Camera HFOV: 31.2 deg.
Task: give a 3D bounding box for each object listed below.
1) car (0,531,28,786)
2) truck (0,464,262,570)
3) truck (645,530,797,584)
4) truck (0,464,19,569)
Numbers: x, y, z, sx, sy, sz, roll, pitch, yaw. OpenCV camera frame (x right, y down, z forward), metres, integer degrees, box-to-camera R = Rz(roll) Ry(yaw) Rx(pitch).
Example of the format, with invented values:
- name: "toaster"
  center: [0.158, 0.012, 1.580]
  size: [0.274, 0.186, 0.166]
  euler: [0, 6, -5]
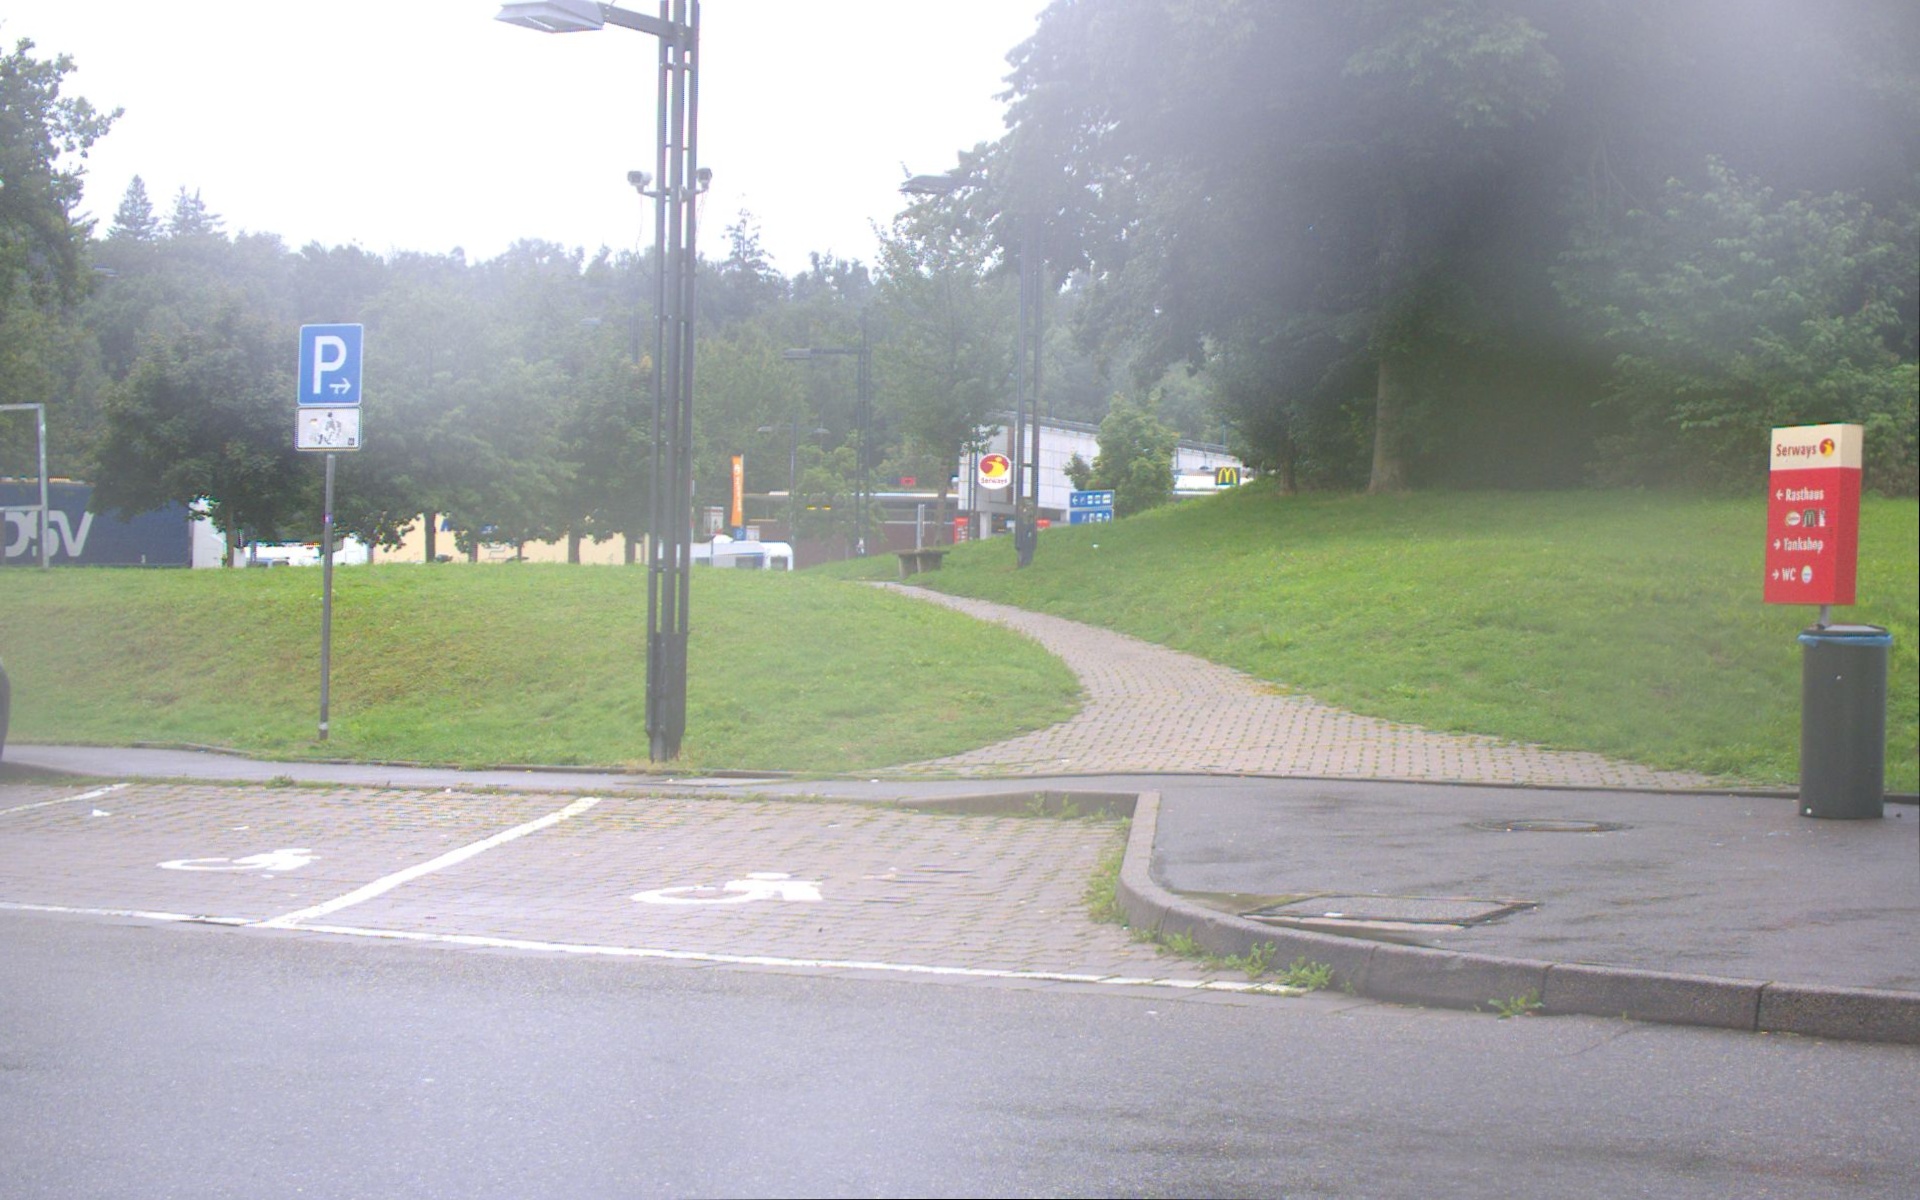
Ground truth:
- name: "car"
  center: [-7.799, 0.454, 21.516]
  size: [2.018, 1.705, 4.341]
  euler: [-1, 1, 12]
- name: "truck"
  center: [-25.452, -2.372, 101.655]
  size: [2.188, 2.910, 13.082]
  euler: [1, 1, 24]
- name: "truck"
  center: [-9.310, -1.674, 133.831]
  size: [5.413, 2.007, 2.364]
  euler: [1, 1, 25]
- name: "truck"
  center: [-28.591, -2.346, 94.686]
  size: [2.189, 2.910, 5.380]
  euler: [1, 1, 24]
